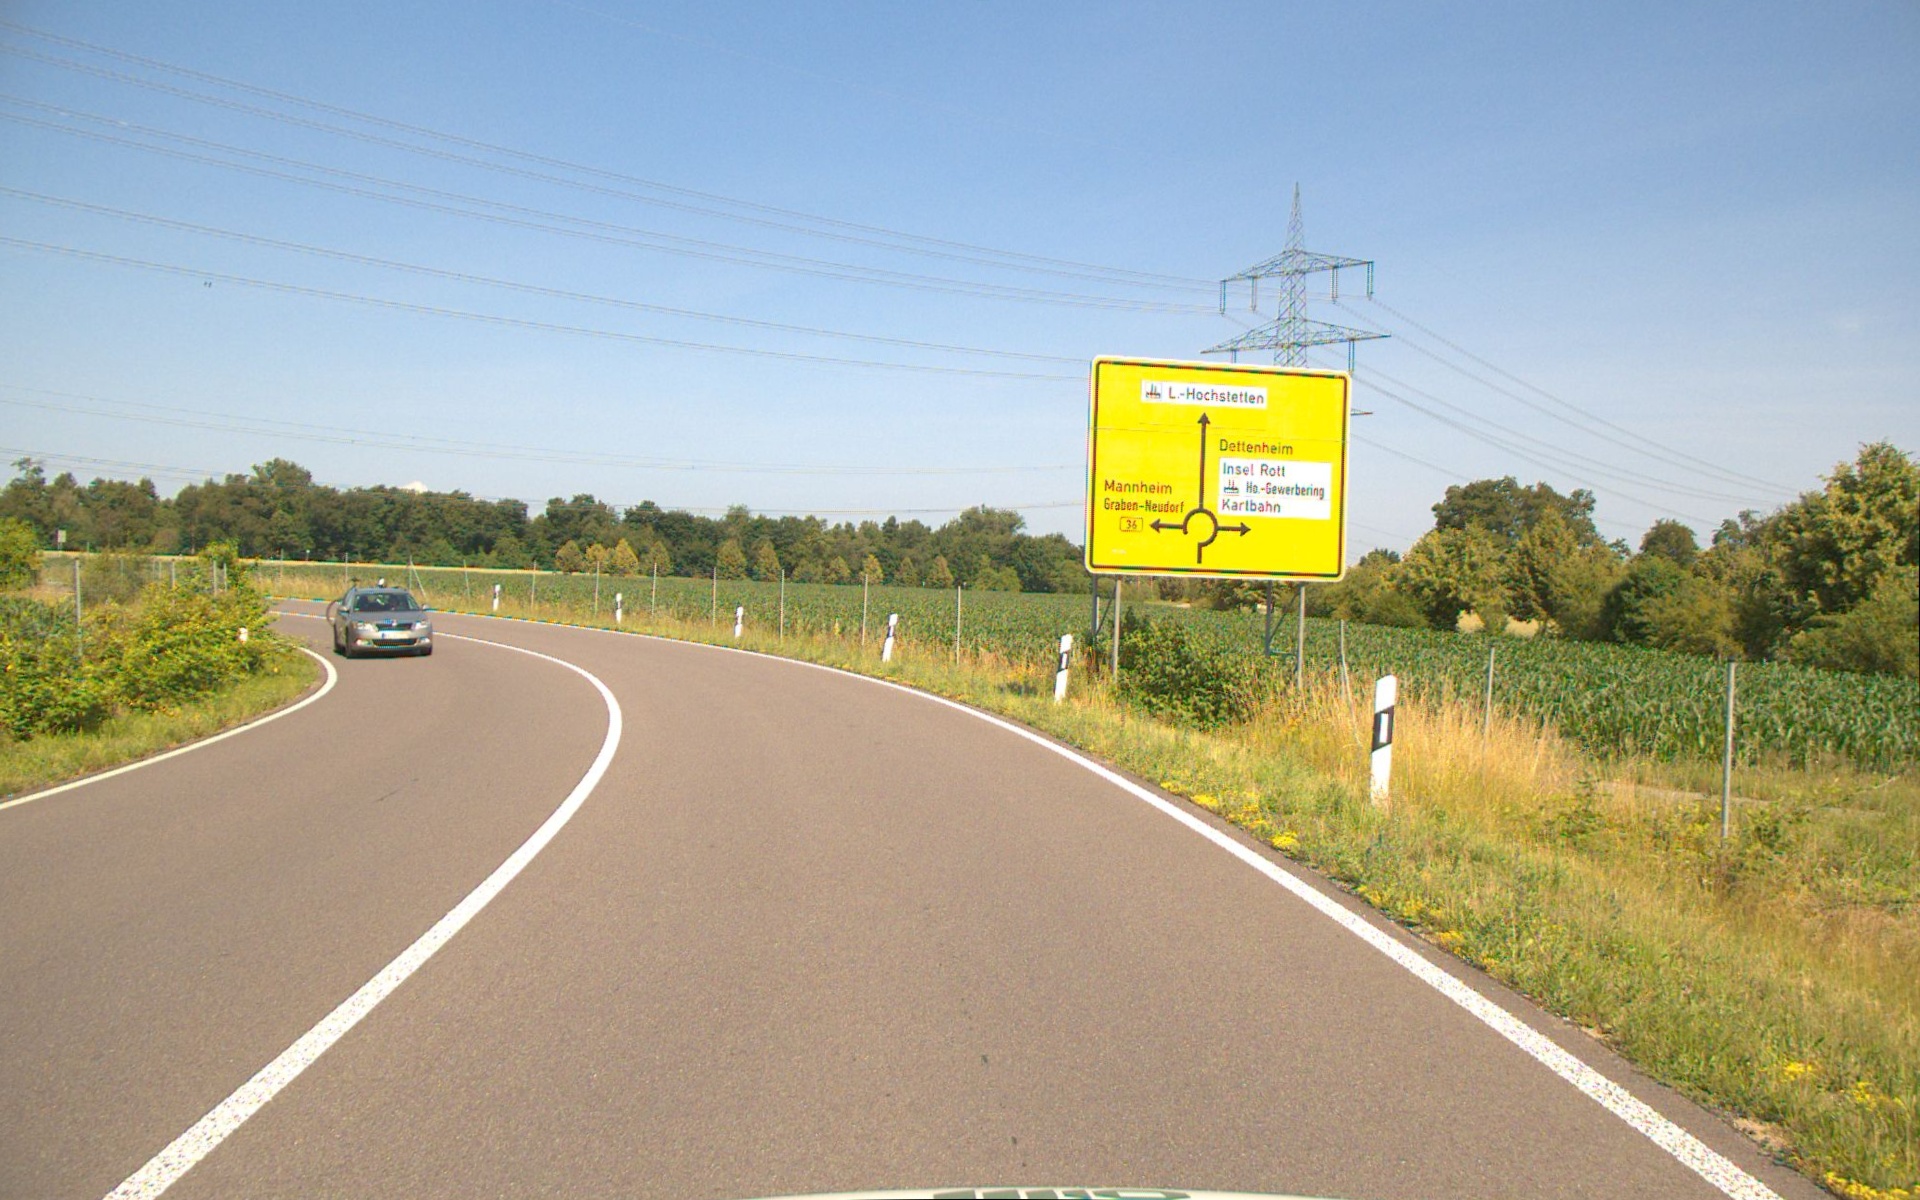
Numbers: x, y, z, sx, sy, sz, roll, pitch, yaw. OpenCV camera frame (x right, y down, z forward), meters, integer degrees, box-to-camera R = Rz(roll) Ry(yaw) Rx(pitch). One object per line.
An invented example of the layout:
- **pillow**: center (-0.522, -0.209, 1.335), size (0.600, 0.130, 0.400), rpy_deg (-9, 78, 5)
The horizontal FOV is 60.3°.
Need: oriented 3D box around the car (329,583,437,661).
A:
- **car**: center (-12.945, 0.421, 36.909), size (1.842, 1.506, 5.098), rpy_deg (-3, 2, -24)
